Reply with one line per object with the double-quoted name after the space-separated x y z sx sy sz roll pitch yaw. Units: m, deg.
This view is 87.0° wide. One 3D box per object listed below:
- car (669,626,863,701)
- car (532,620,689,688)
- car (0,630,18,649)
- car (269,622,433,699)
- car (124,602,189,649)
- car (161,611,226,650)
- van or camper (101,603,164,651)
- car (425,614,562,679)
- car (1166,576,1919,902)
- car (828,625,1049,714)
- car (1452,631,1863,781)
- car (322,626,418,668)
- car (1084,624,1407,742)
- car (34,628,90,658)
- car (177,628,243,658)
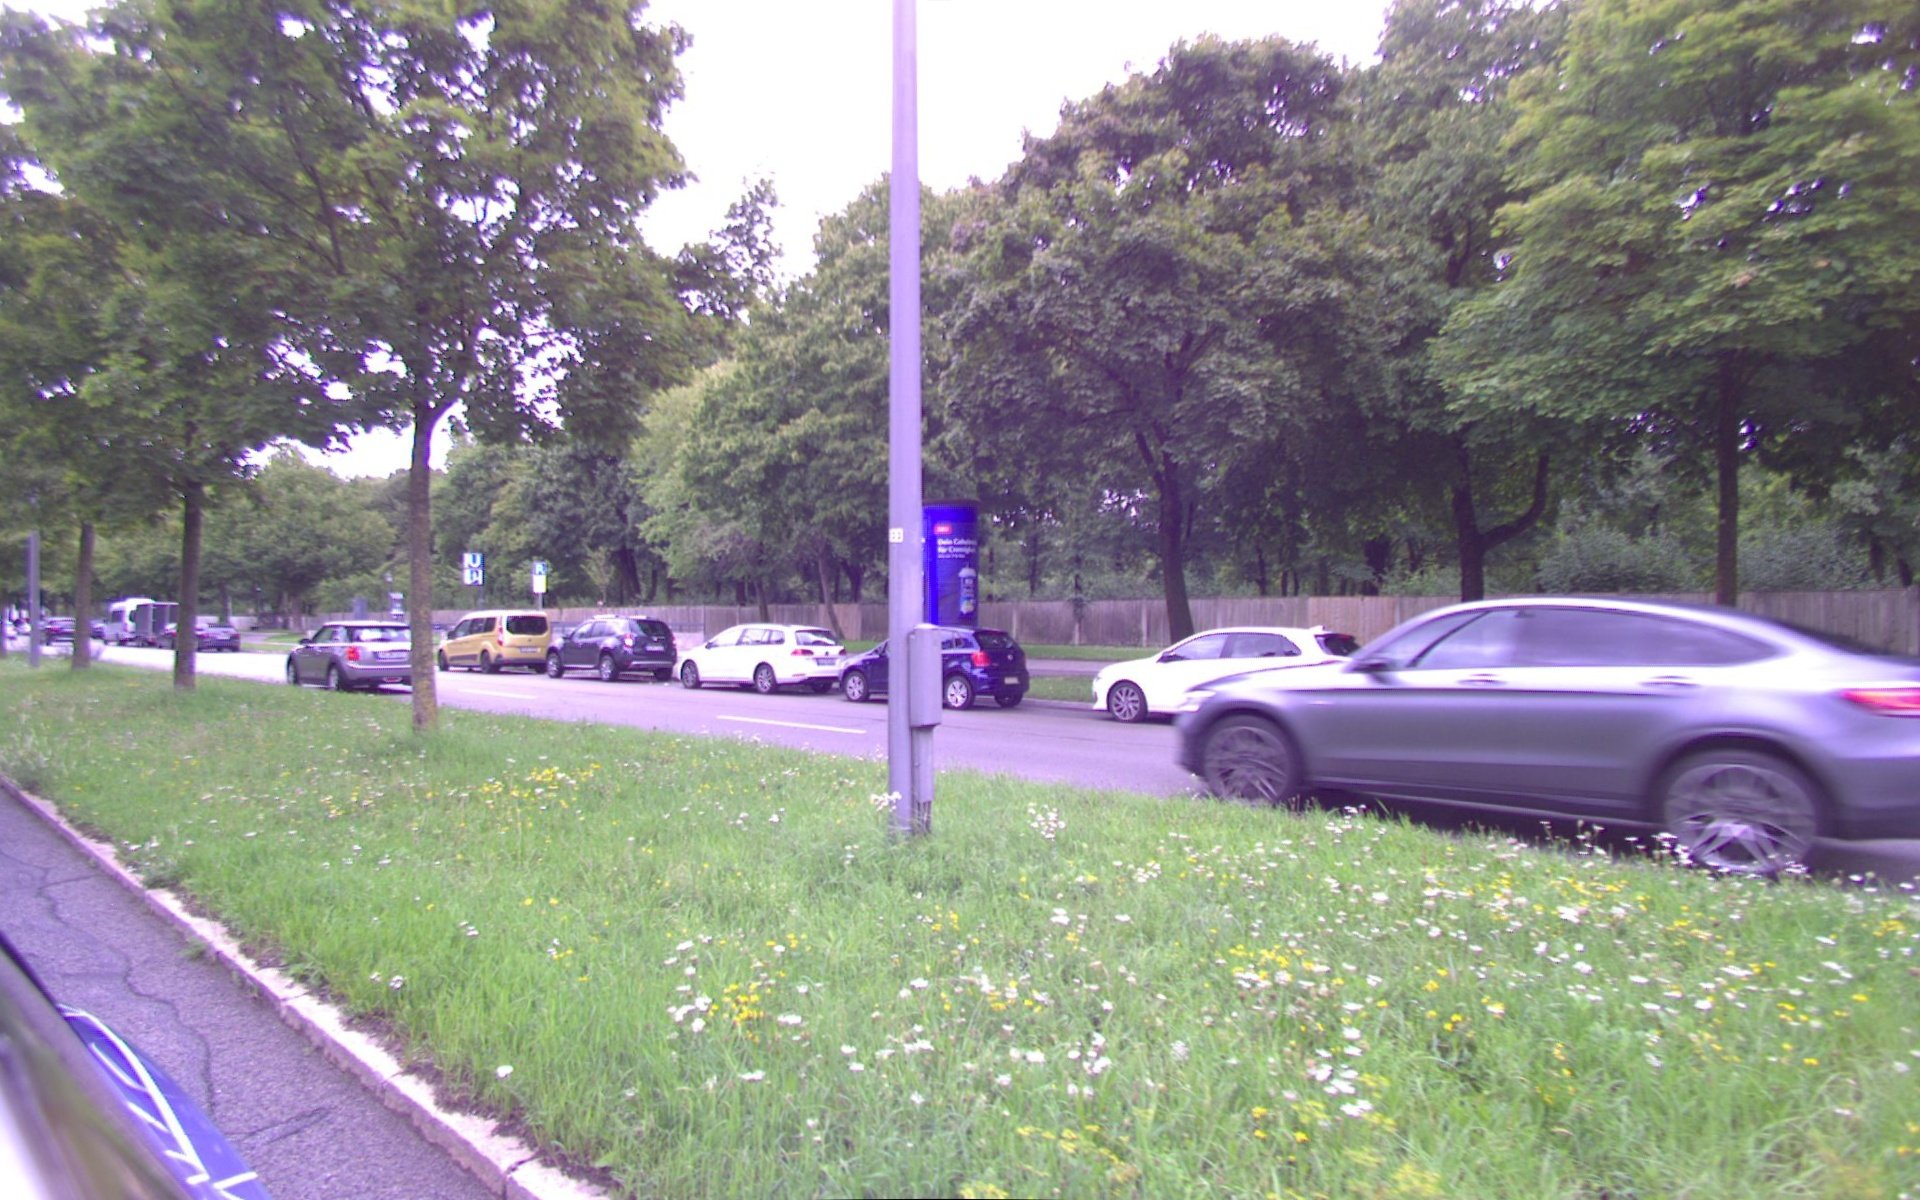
-4.295 1.324 22.088 4.296 1.481 1.804 -1 -2 39 "car"
-9.125 1.355 26.320 4.037 1.628 1.982 -1 -2 39 "car"
-74.504 3.044 78.285 4.497 1.467 1.842 -1 -3 40 "car"
-12.266 1.174 20.301 3.765 1.393 1.700 -1 -4 41 "car"
-46.857 1.509 58.995 4.494 2.611 1.974 -1 -3 39 "car"
-41.152 1.622 54.294 3.997 2.029 1.973 -1 -1 40 "car"
-50.921 1.655 62.260 4.926 2.829 1.974 -1 -3 39 "van or camper"
-13.924 1.350 30.092 4.528 1.784 1.839 -1 -3 39 "car"
3.858 0.732 6.906 4.499 1.601 1.802 -2 -2 41 "car"
-0.437 1.223 18.592 3.783 1.457 1.804 -1 -4 39 "car"
7.862 1.099 11.615 3.685 1.433 1.632 -1 -4 42 "car"
-21.738 1.709 37.248 4.037 1.454 1.696 -1 -2 39 "car"
4.102 1.134 14.952 4.258 1.488 1.802 -1 -4 42 "car"
-53.277 2.547 60.020 4.497 1.682 1.842 -1 -3 40 "car"
-37.740 2.133 50.910 4.037 1.420 1.696 -1 -2 39 "car"
